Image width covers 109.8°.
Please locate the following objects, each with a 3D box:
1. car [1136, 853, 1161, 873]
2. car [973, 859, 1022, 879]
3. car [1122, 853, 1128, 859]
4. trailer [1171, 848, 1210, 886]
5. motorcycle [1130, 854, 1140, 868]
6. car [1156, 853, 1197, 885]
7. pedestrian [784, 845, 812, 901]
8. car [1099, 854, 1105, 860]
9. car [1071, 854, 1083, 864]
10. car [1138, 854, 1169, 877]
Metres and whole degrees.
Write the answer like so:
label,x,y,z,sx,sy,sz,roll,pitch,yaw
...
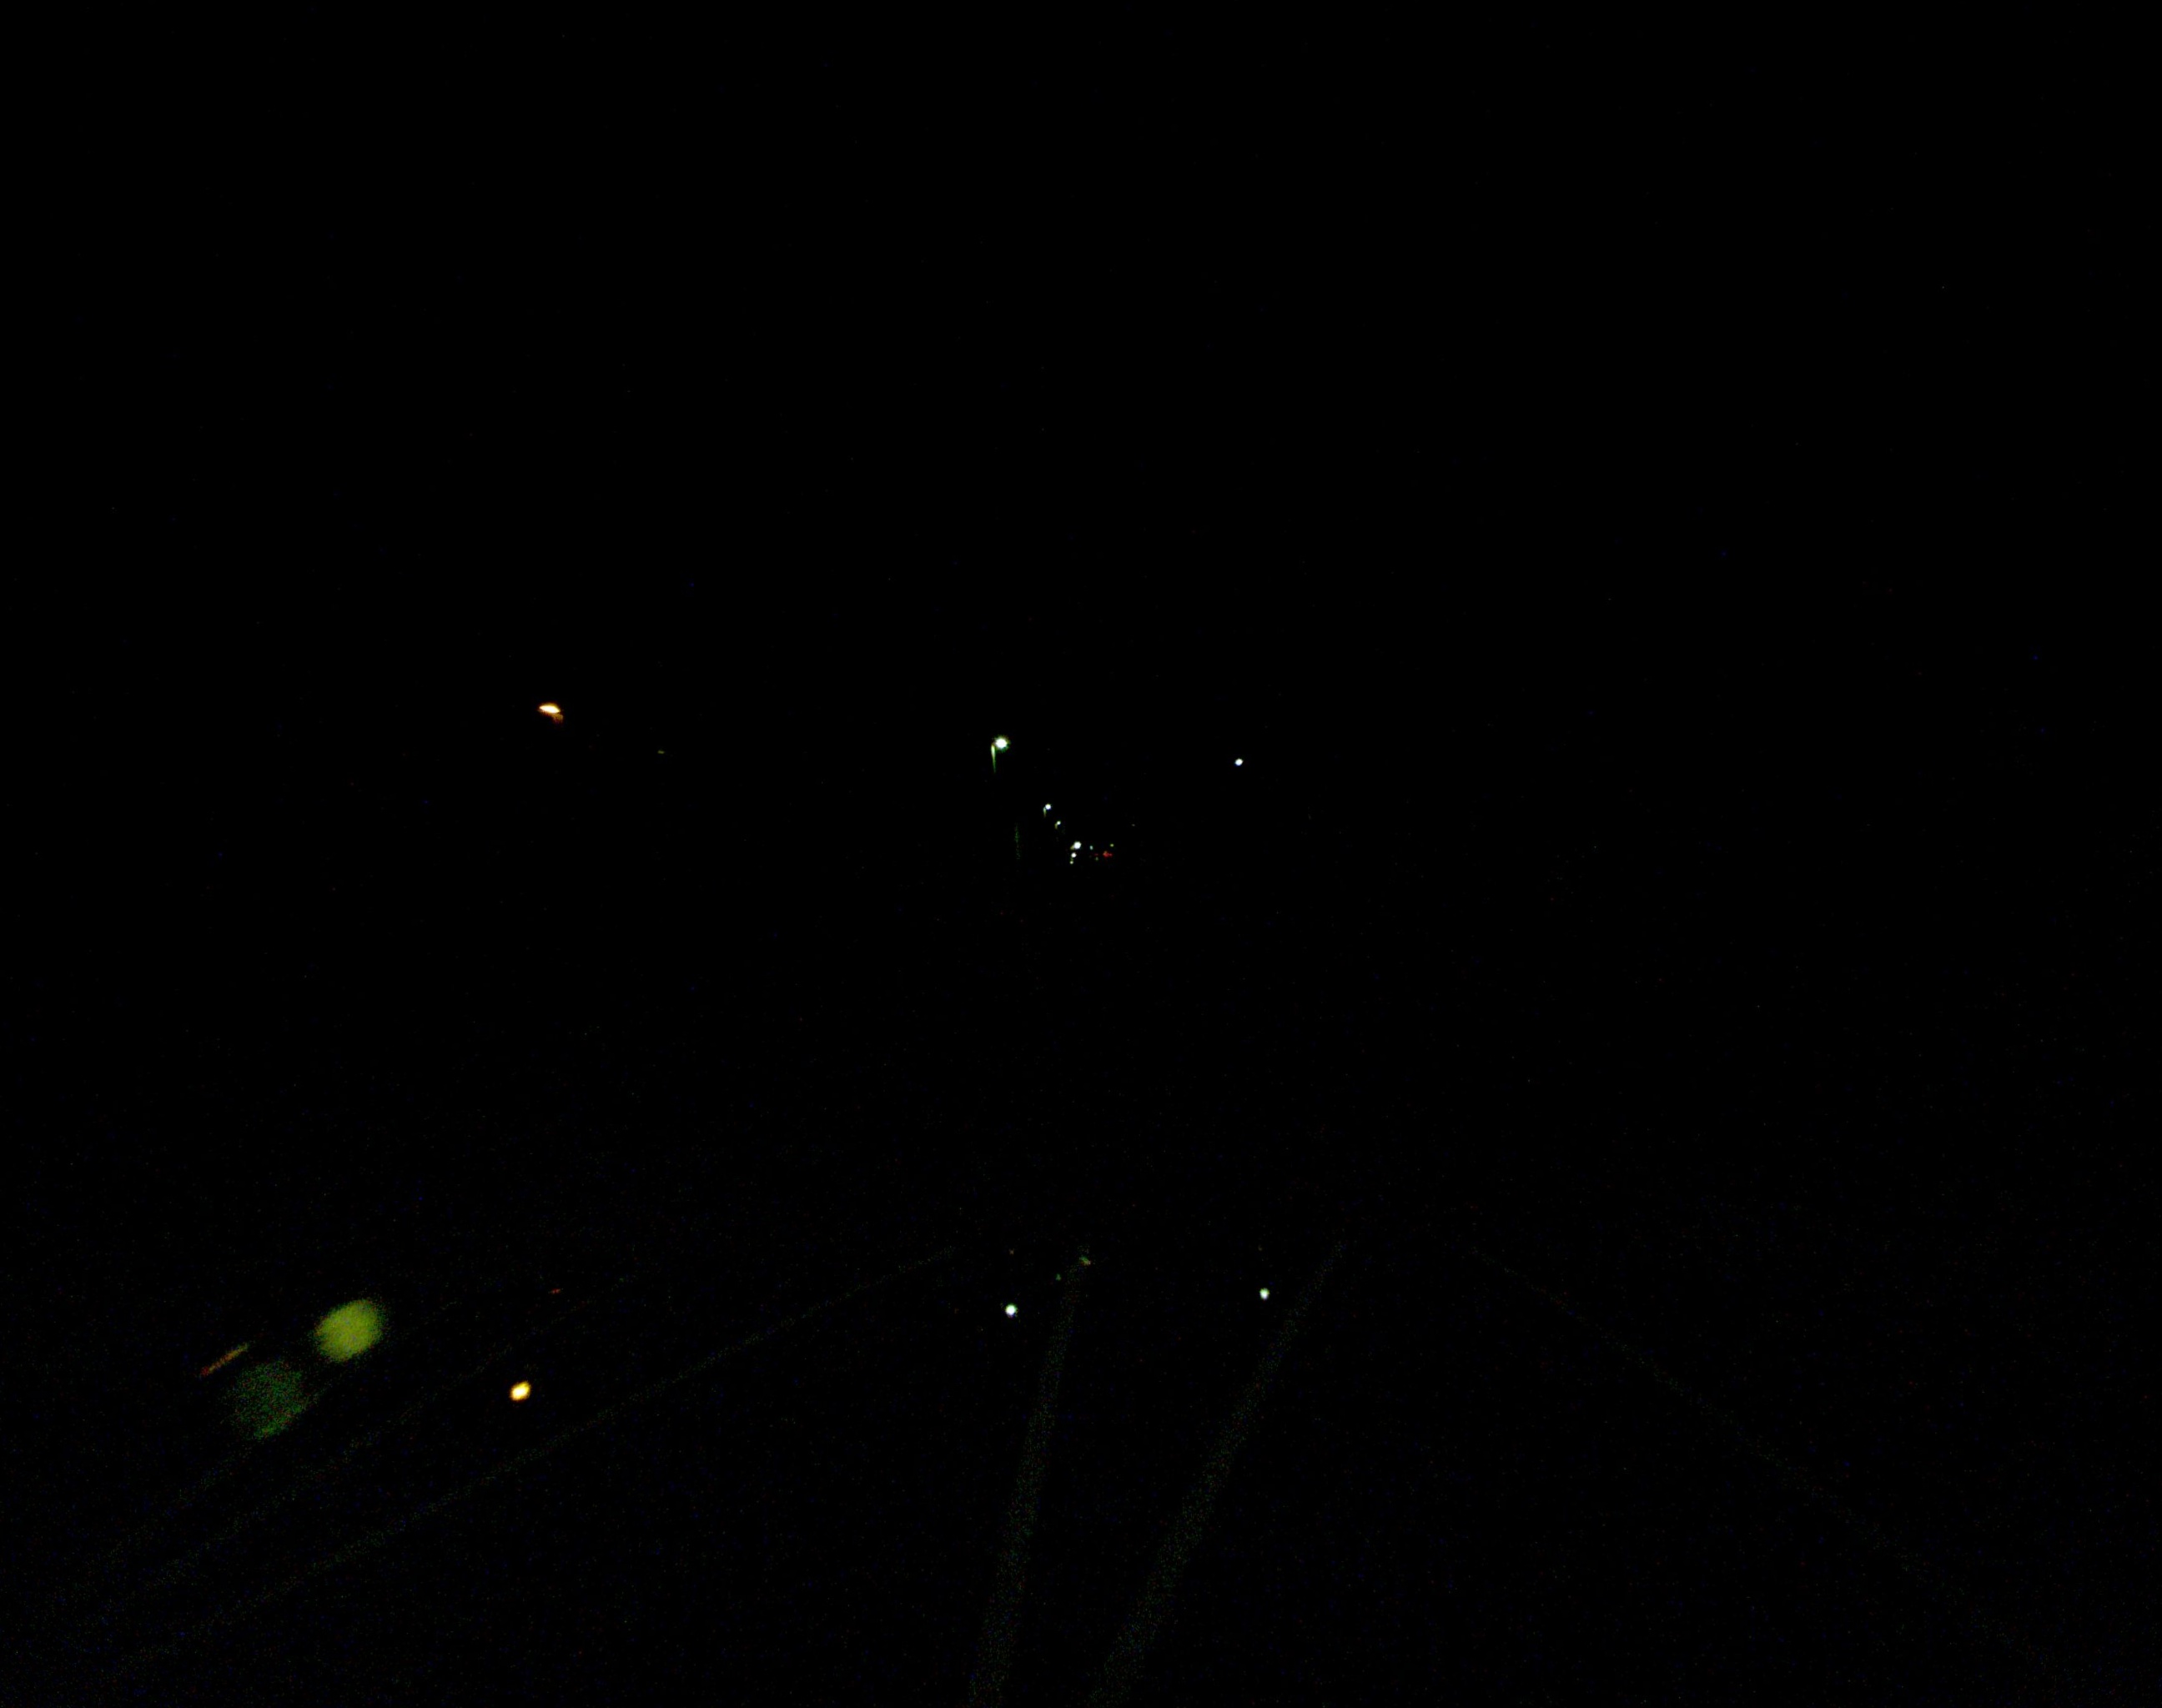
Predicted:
label,x,y,z,sx,sy,sz,roll,pitch,yaw
car,5.524,0.709,62.164,1.692,1.501,4.279,-3,0,1
car,-6.979,1.236,63.629,3.720,1.464,1.731,-3,1,3
car,13.347,0.473,230.592,1.814,1.637,3.804,-4,0,3
trailer,5.388,0.613,37.671,1.451,1.678,3.426,-5,0,3
motorcycle,5.629,0.702,78.793,0.747,1.444,2.197,-2,0,9
car,5.079,0.778,40.904,1.675,1.513,2.978,-5,0,-1
pedestrian,-10.017,0.661,26.895,0.647,1.926,0.773,-1,1,1
car,6.116,0.869,225.227,1.606,1.474,3.699,-2,0,1
car,-0.603,0.840,122.937,1.747,1.560,4.209,-2,0,2
car,5.193,0.789,54.637,1.771,1.510,4.278,-4,0,1
